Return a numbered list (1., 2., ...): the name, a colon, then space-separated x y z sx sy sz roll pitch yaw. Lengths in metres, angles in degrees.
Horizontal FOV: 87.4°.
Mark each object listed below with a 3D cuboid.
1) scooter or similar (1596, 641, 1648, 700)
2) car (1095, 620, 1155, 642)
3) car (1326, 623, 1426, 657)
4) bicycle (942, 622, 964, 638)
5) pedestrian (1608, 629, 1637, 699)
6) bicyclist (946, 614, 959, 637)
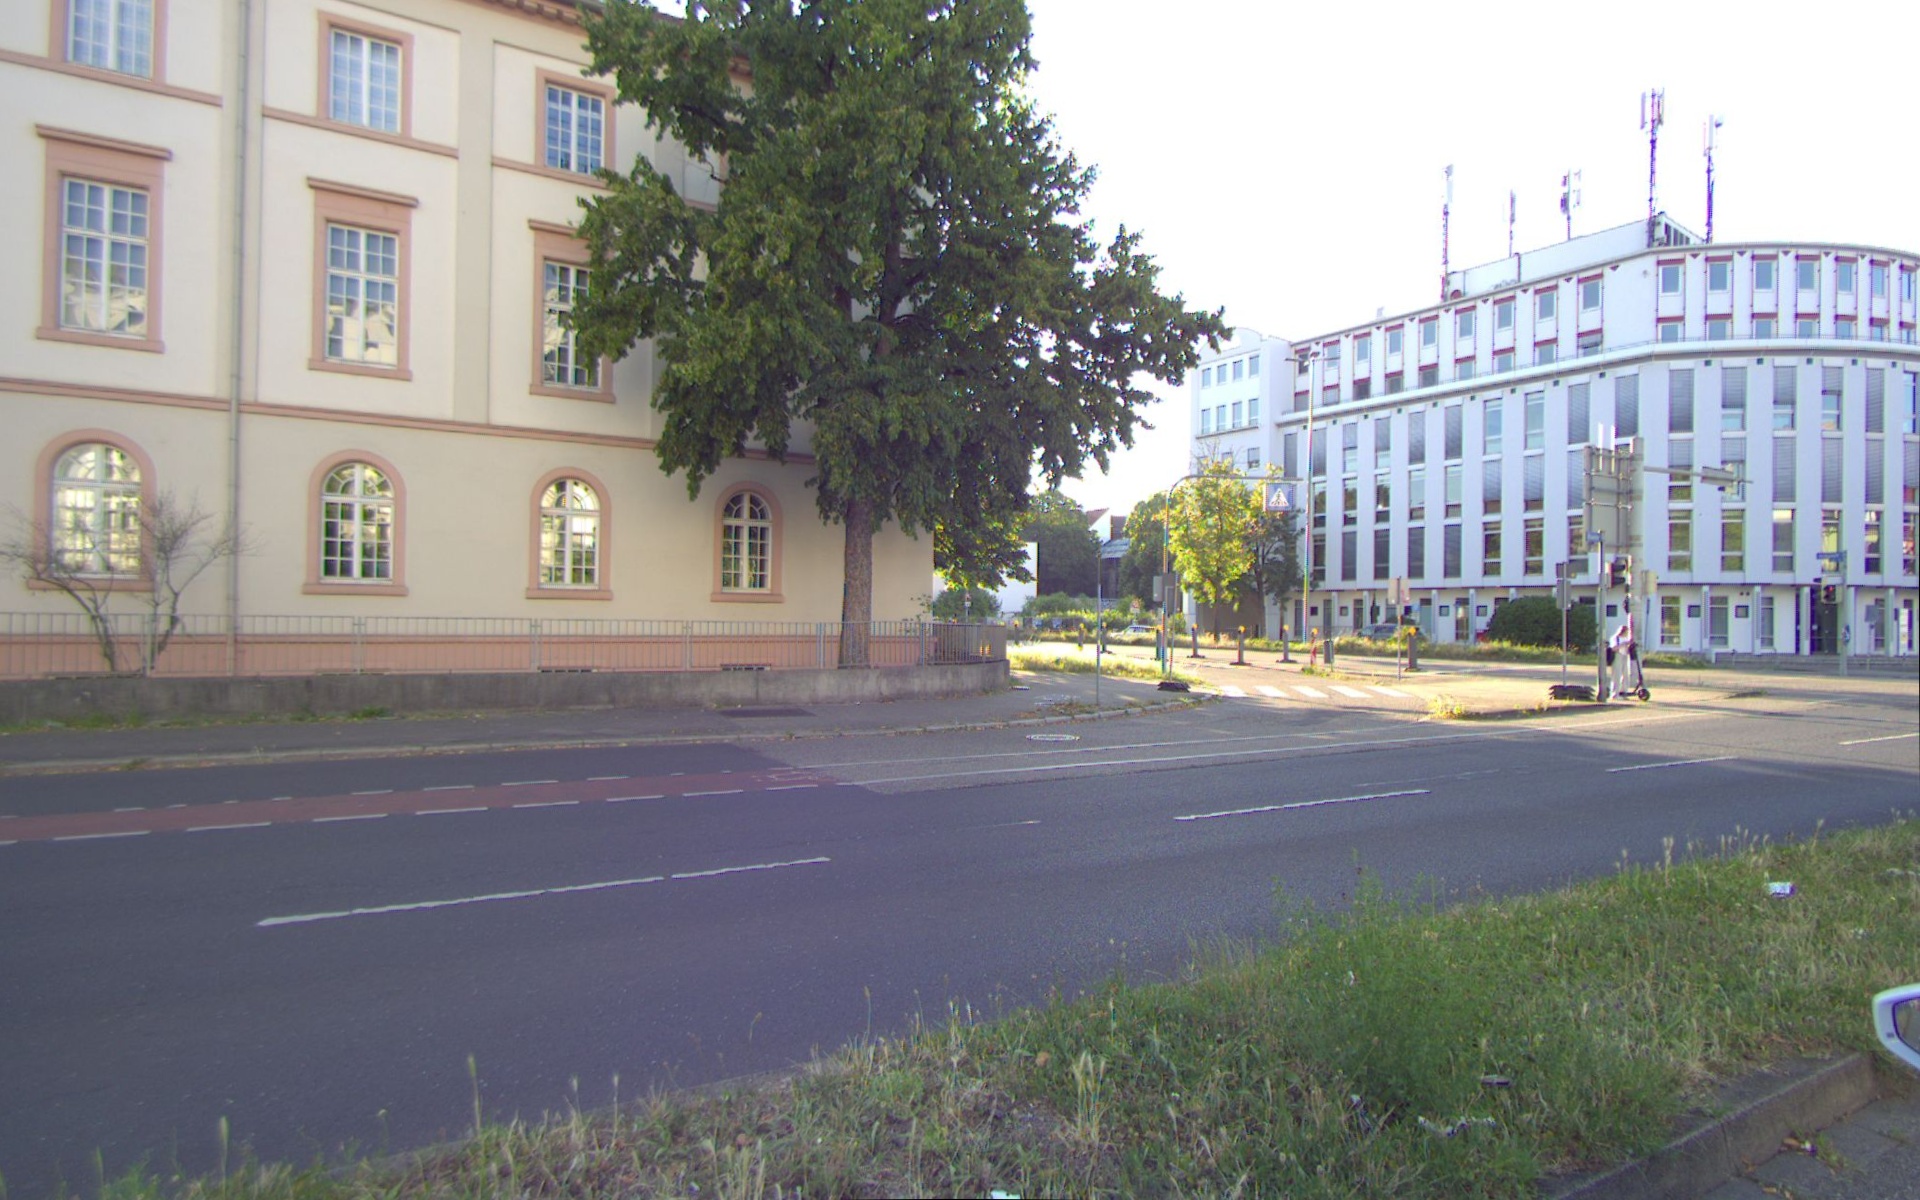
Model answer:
1. scooter or similar: 14.604 1.550 22.172 0.368 1.250 0.885 1 -1 -40
2. car: 11.168 2.110 68.154 1.770 1.439 3.961 1 -1 -35
3. car: 20.444 1.947 49.499 1.770 1.570 4.310 1 -1 -35
4. bicycle: -0.475 2.017 67.384 0.498 1.056 1.786 1 -1 -35
5. pedestrian: 14.713 1.413 22.315 0.332 1.525 0.470 1 -1 -41
6. bicyclist: -0.509 1.684 67.442 0.453 1.516 0.879 1 -1 -36
